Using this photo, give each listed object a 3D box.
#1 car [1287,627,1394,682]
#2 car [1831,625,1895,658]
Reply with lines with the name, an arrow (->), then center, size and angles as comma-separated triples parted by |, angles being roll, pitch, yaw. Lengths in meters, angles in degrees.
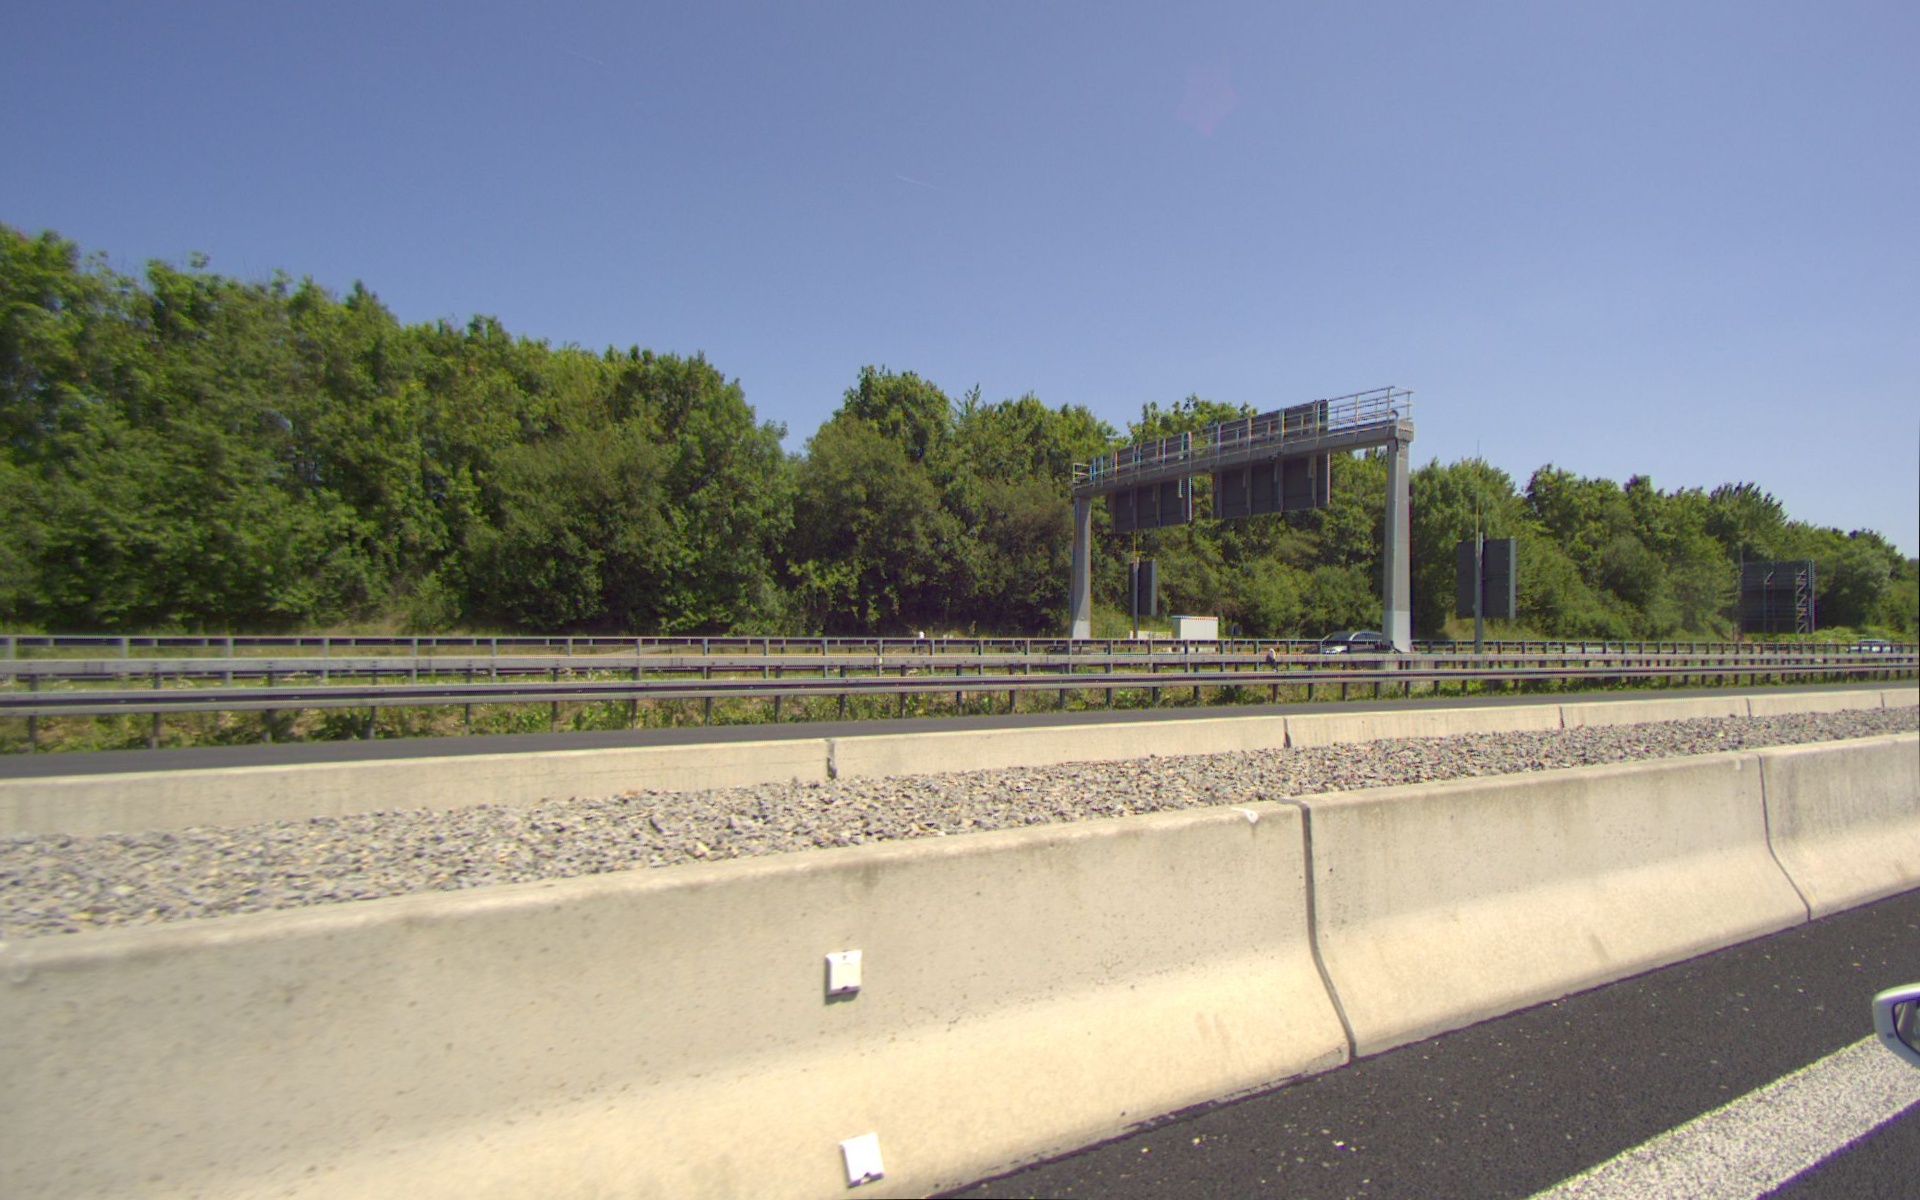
car -> 15.411, 2.200, 40.624 | 3.954, 2.040, 1.984 | 2, 0, -31
car -> 59.944, 2.739, 66.674 | 3.952, 2.040, 1.984 | 2, 0, -30
